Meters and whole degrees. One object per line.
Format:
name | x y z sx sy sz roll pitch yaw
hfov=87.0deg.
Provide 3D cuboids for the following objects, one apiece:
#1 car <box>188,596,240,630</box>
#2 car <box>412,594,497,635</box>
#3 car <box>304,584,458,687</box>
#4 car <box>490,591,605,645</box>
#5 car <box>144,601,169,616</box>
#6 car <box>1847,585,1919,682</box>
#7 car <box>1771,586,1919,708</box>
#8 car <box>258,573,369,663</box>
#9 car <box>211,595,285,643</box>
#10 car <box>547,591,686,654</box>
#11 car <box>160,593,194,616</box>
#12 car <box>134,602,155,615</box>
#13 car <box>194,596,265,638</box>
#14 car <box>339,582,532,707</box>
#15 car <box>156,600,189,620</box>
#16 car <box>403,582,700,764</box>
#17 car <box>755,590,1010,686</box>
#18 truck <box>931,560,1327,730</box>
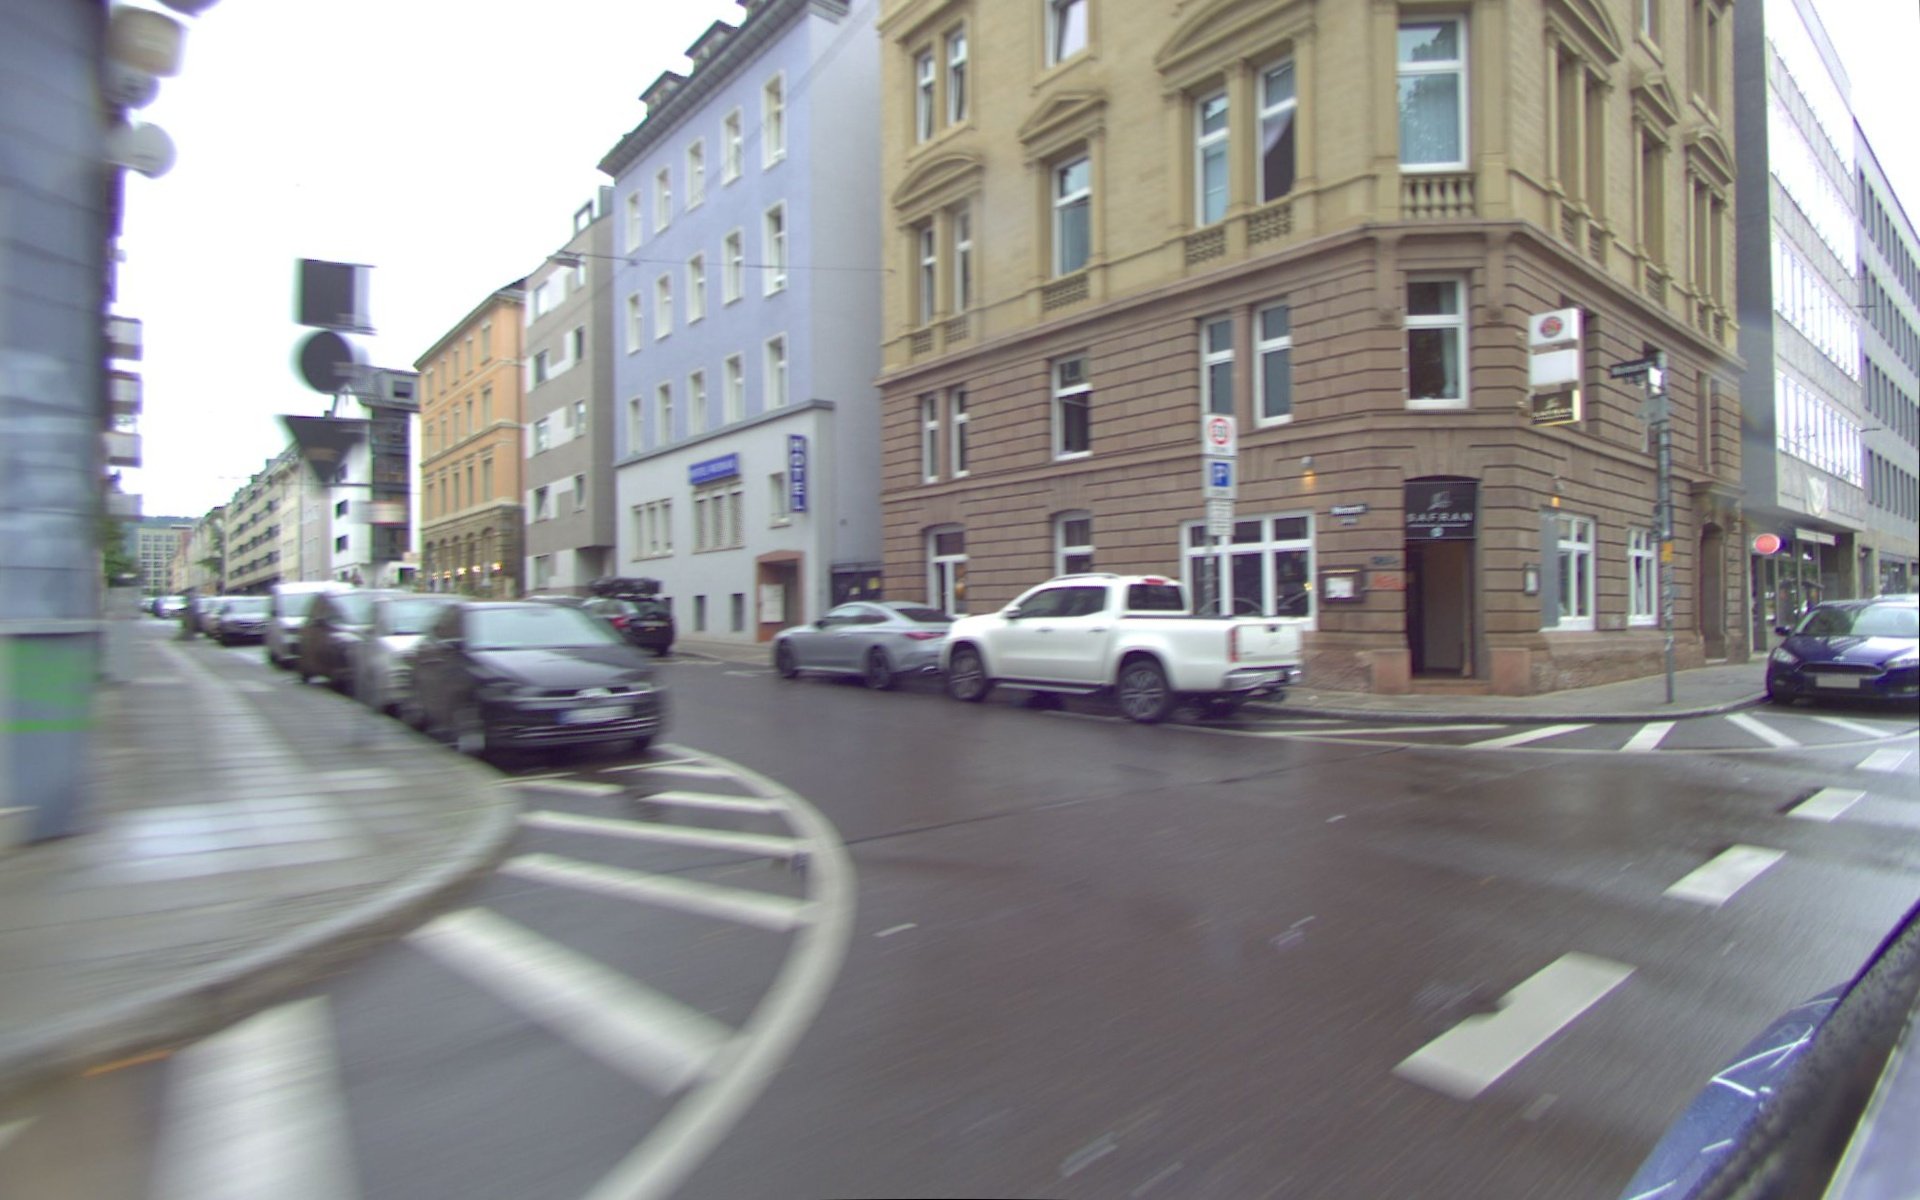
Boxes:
car | -33.499 0.545 45.400 1.754 1.464 4.221 0 0 -38
car | -19.075 0.514 38.069 1.756 1.449 4.422 0 0 -42
car | -9.971 0.528 17.292 1.754 1.550 3.997 0 0 -38
car | -12.170 0.485 29.708 1.756 1.449 4.422 0 0 -42
car | -81.023 0.839 102.055 1.756 1.464 4.218 0 0 -41
car | 16.953 0.536 17.587 4.279 1.543 1.749 0 -1 -41
car | 13.274 0.600 14.532 4.182 1.535 1.724 0 -1 -40
car | -14.748 0.372 22.994 1.754 1.847 4.221 0 0 -38
car | -23.127 0.574 32.822 1.754 1.464 4.221 0 0 -38
car | -8.782 0.521 25.641 1.756 1.449 4.422 0 0 -42
car | -51.339 0.299 66.368 1.754 1.464 4.221 0 0 -38
car | -91.980 0.907 114.118 1.756 1.464 4.218 0 0 -41
car | -26.837 0.593 37.144 1.756 1.464 4.218 0 0 -41
car | -7.398 0.533 14.104 1.754 1.490 3.728 0 0 -38
car | -60.560 0.741 77.791 1.756 1.464 4.218 0 0 -41
car | -4.258 0.581 10.175 1.754 1.449 3.997 0 0 -38
car | -1.468 0.569 17.490 2.058 1.425 4.564 0 0 -42
truck | 2.037 0.486 13.567 2.049 1.841 5.064 0 0 -43
